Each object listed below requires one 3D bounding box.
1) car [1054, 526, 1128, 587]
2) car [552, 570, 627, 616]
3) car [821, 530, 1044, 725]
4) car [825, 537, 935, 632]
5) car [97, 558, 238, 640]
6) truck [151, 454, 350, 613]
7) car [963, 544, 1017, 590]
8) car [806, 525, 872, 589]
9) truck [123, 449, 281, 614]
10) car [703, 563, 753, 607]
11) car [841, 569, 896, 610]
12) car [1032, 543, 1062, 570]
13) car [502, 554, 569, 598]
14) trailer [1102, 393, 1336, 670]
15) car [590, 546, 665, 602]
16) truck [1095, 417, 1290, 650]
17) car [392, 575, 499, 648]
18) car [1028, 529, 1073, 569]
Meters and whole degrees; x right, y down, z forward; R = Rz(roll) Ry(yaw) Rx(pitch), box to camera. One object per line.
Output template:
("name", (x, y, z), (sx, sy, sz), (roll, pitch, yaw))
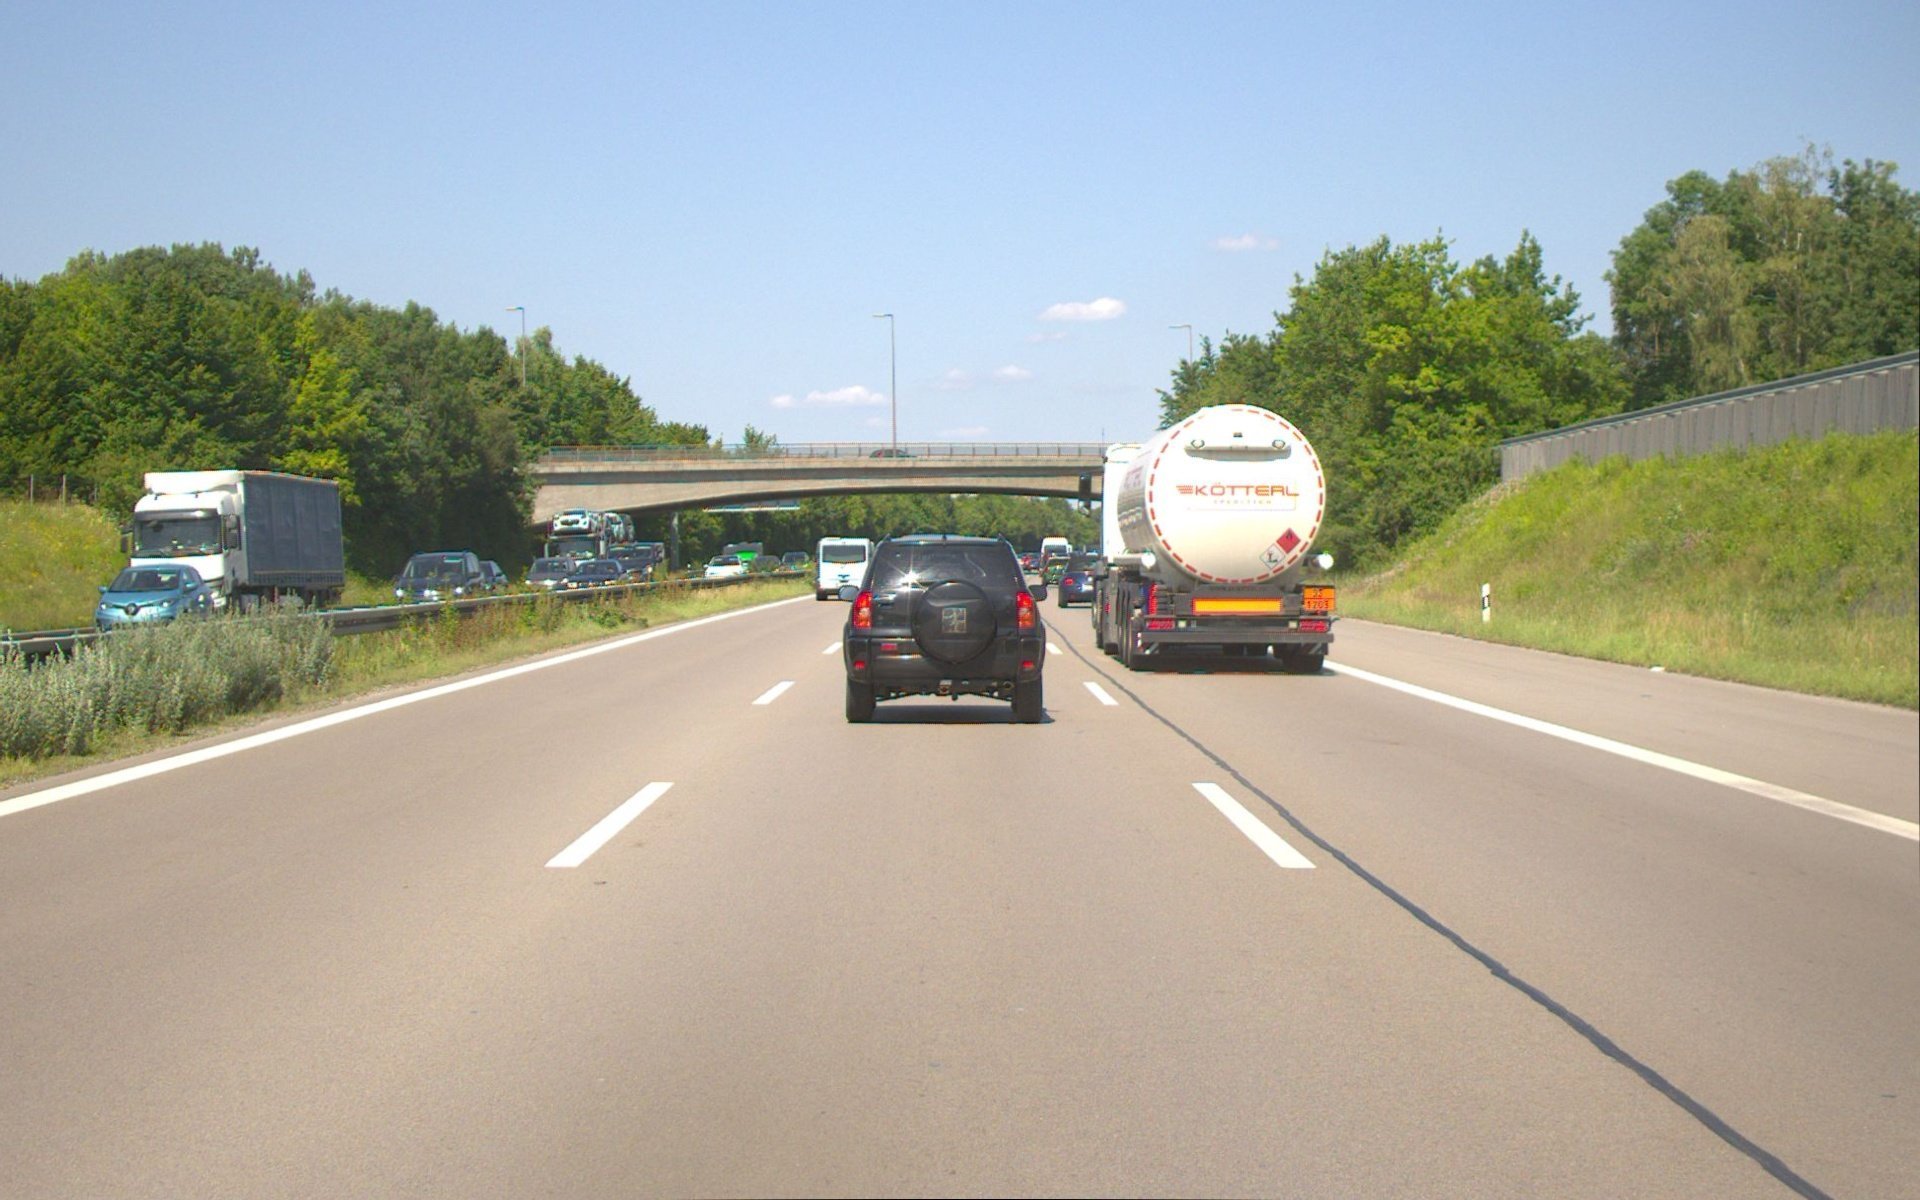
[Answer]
("car", (3.750, -1.242, 98.987), (1.993, 1.678, 4.000), (0, 0, 1))
("car", (-12.112, -0.244, 112.669), (1.874, 1.434, 5.018), (-1, 1, 0))
("car", (-0.235, 0.213, 31.527), (1.906, 1.659, 4.000), (0, 1, 0))
("car", (-1.525, -0.300, 65.342), (1.993, 1.700, 4.336), (-1, 0, -1))
("car", (-15.452, -0.048, 67.196), (1.794, 1.505, 4.351), (-1, 1, -1))
("truck", (-19.814, -1.840, 96.993), (2.672, 4.064, 13.960), (-2, 1, 0))
("car", (1.100, -1.175, 123.753), (1.842, 1.606, 4.000), (0, 0, 2))
("car", (-3.904, -1.387, 111.948), (1.993, 2.007, 4.950), (-1, 0, -1))
("truck", (-19.825, -1.782, 90.268), (2.672, 4.064, 6.076), (-2, 1, 0))
("car", (-10.813, -0.685, 160.521), (1.993, 2.007, 4.914), (0, 0, 0))
("car", (-3.515, -0.384, 132.275), (1.993, 1.547, 4.000), (0, 0, 0))
("car", (5.733, -2.895, 226.212), (1.812, 1.740, 4.000), (-1, 1, -1))
("car", (-16.346, -0.955, 132.505), (1.964, 1.635, 4.895), (-1, 1, 0))
("trailer", (3.398, -0.911, 47.705), (2.648, 3.378, 11.151), (0, 1, 1))
("car", (-11.867, -0.955, 122.972), (2.090, 1.938, 5.689), (-1, 1, 0))
("truck", (3.511, -1.002, 53.274), (2.638, 3.363, 6.487), (1, 1, 1))
("car", (-12.091, 0.247, 81.014), (1.858, 1.595, 4.721), (-1, 1, -1))
("car", (4.183, -2.353, 158.913), (1.993, 1.773, 4.261), (-1, 1, 2))
